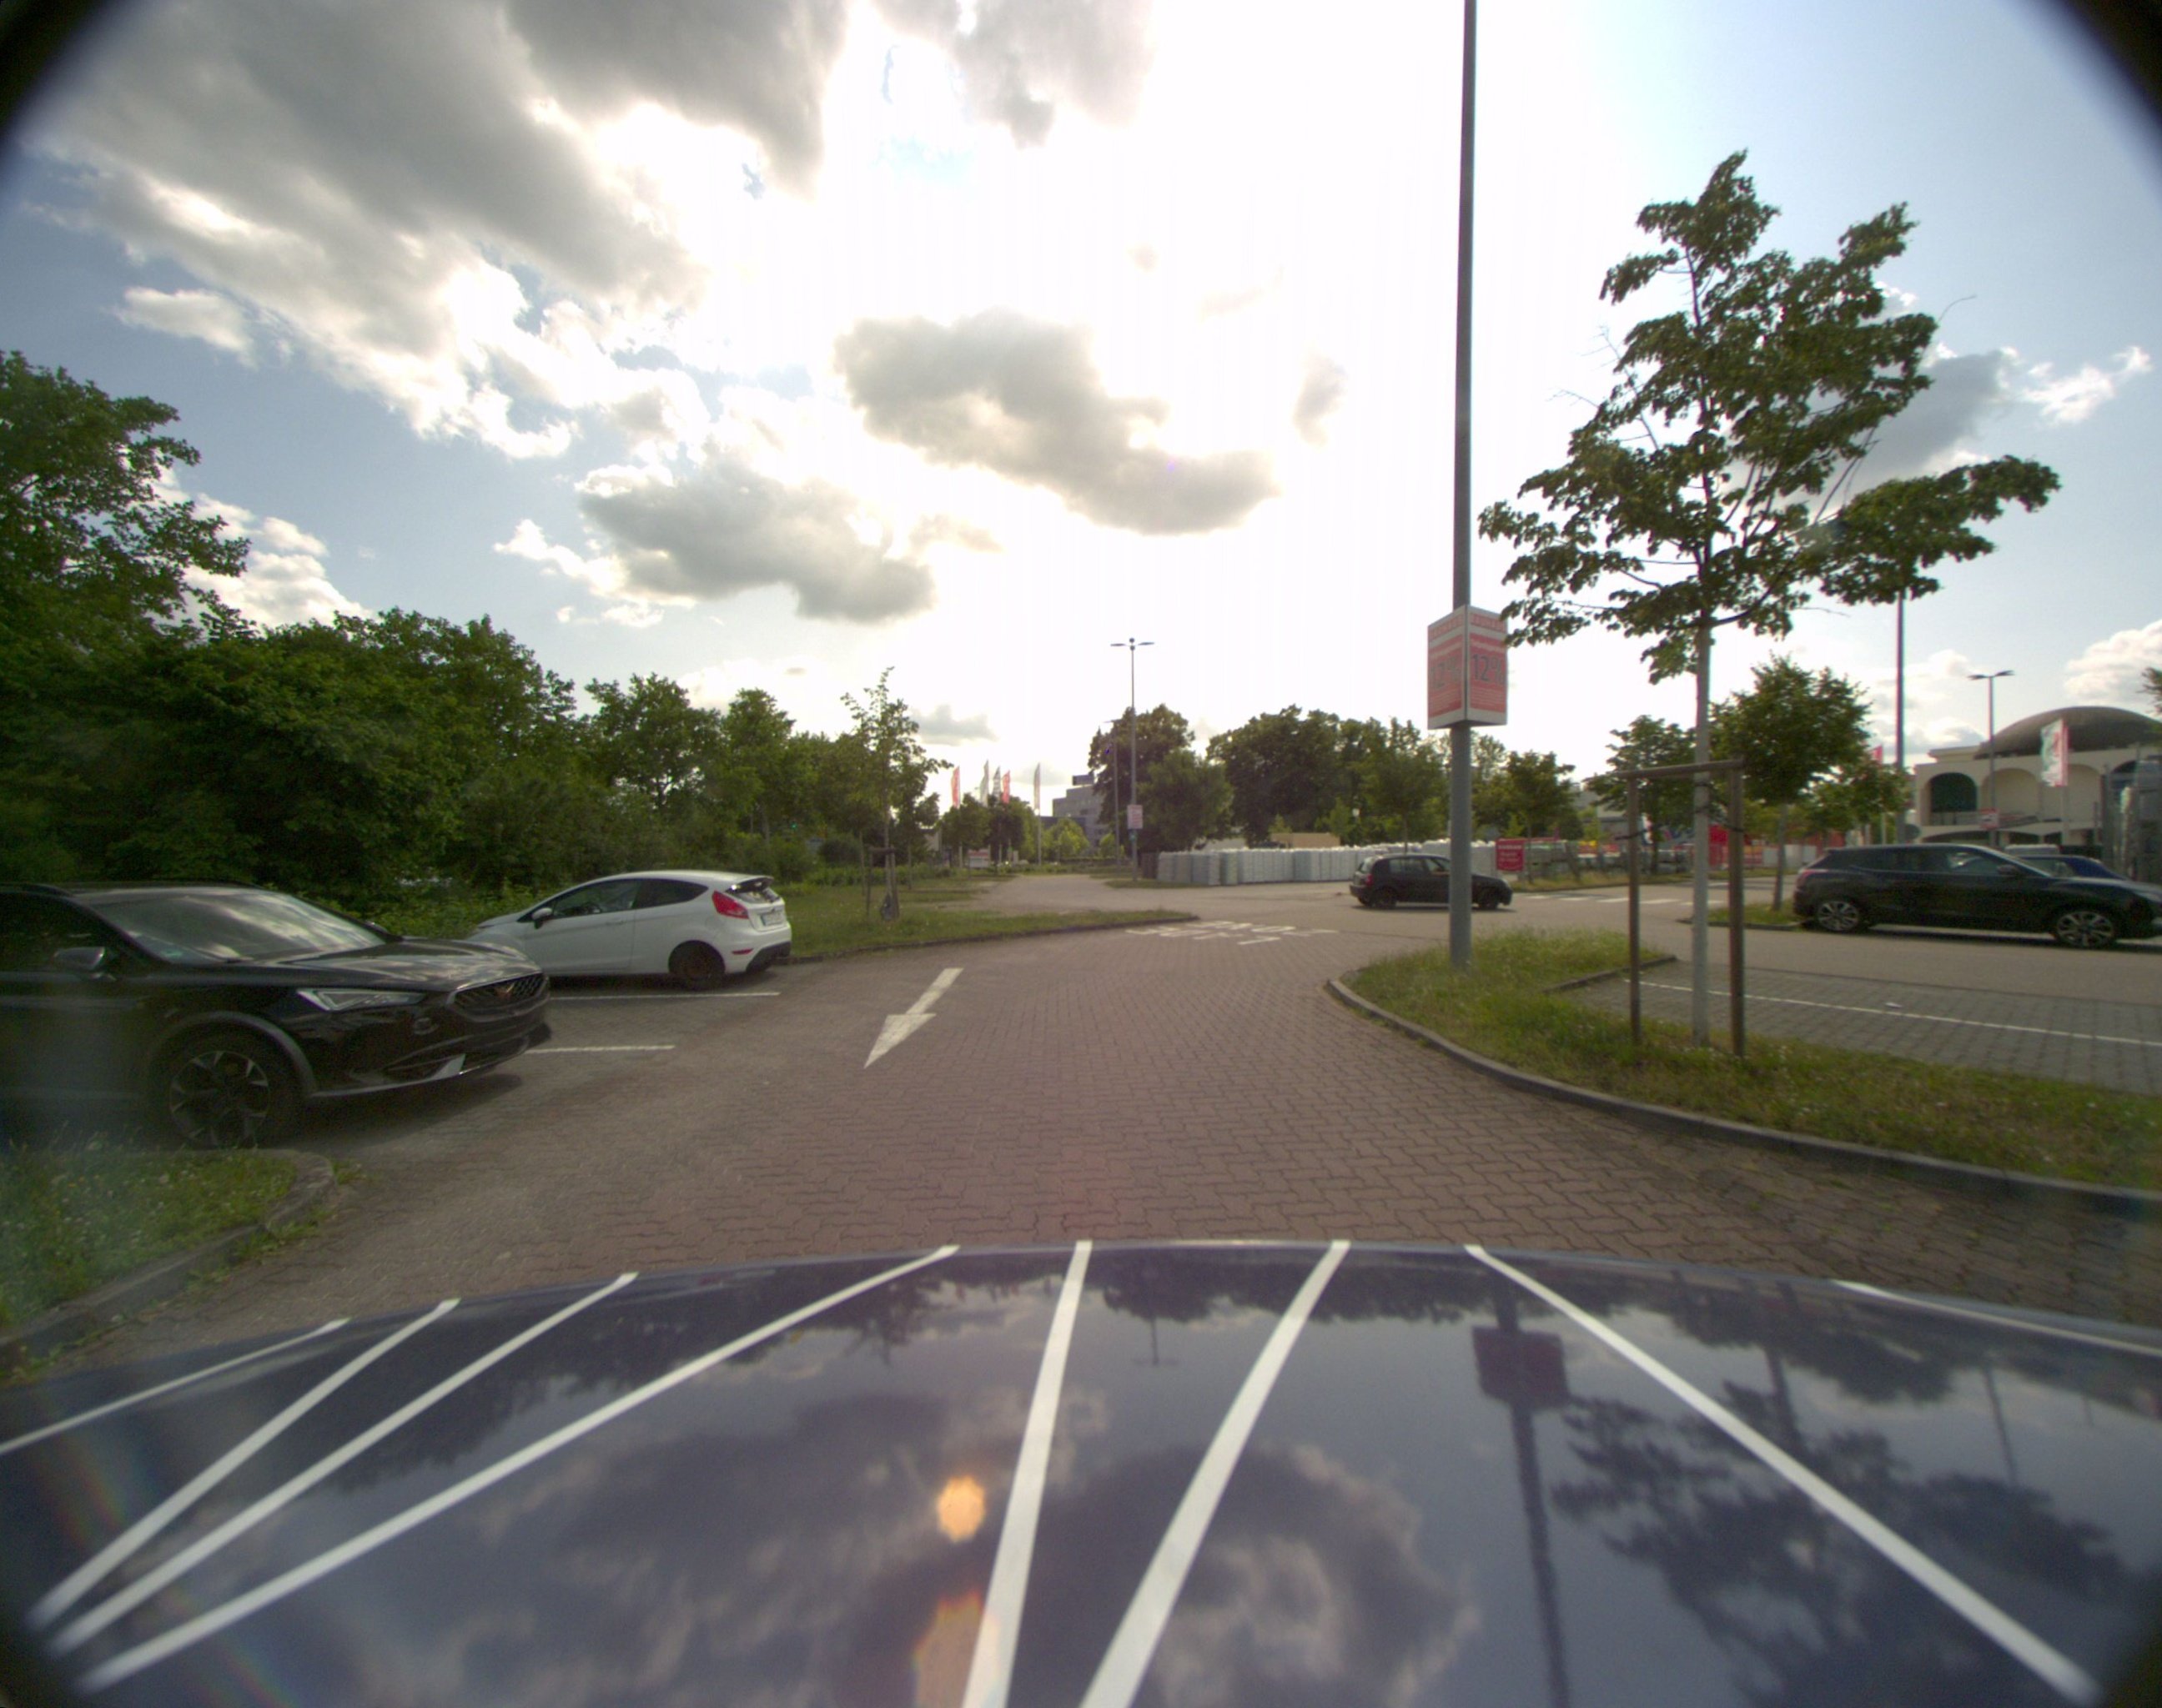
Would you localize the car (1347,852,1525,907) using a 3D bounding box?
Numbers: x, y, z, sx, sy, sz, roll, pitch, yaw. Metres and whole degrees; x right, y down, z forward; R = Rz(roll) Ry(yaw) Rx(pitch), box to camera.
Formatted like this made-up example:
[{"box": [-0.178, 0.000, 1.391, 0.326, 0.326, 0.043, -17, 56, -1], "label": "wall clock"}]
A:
[{"box": [8.848, 0.630, 19.211, 3.781, 1.313, 1.613, 0, 0, 9], "label": "car"}]

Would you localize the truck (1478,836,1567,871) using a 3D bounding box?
[{"box": [33.319, -0.032, 57.449, 2.121, 2.500, 5.430, 0, 0, -39], "label": "truck"}]

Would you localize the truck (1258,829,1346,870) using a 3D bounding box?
[{"box": [20.580, -0.441, 70.561, 9.053, 3.578, 2.723, 0, 1, -35], "label": "truck"}]

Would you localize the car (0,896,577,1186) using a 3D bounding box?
[{"box": [-5.944, 1.046, 4.850, 4.240, 1.402, 1.733, -1, 0, -2], "label": "car"}]

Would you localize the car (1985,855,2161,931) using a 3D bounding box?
[{"box": [20.086, 0.705, 14.356, 1.624, 1.360, 3.753, -1, 0, -36], "label": "car"}]

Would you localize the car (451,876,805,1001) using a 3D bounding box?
[{"box": [-5.658, 1.024, 9.777, 3.554, 1.403, 1.670, -1, 0, 3], "label": "car"}]

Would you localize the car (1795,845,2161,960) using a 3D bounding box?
[{"box": [14.880, 0.686, 12.733, 1.739, 1.615, 3.953, -1, 0, -34], "label": "car"}]
